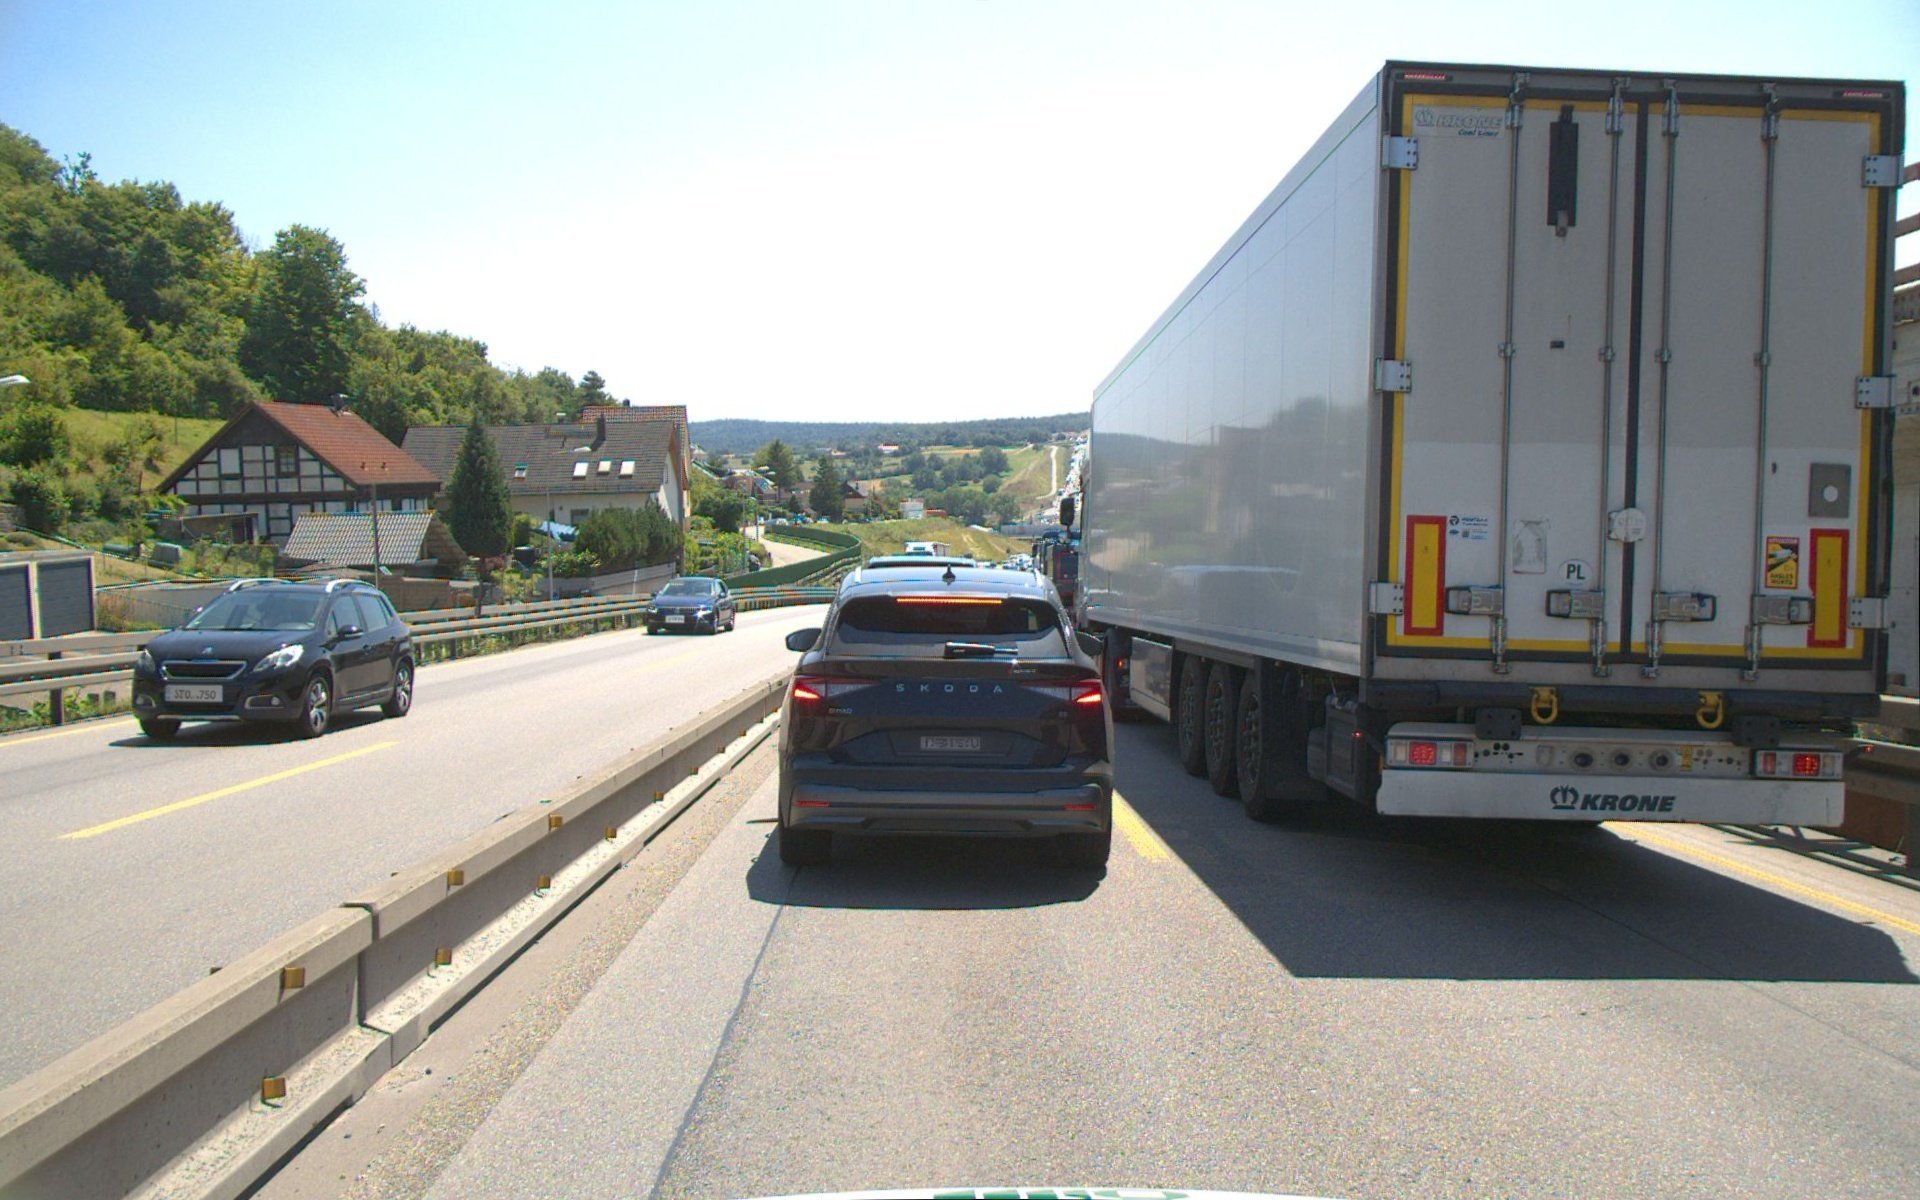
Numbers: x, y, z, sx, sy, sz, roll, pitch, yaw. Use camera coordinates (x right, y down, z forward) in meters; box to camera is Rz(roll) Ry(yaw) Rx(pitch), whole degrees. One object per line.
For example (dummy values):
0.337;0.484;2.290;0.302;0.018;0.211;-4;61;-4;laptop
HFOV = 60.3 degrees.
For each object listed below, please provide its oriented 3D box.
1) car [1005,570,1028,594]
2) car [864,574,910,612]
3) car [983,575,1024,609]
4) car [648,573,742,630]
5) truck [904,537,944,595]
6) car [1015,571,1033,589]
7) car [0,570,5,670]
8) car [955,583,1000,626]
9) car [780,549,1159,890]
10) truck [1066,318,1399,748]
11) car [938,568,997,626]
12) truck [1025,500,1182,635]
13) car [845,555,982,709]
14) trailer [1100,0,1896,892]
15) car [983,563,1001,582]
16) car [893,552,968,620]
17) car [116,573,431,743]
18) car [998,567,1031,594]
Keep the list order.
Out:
4.497;-1.388;130.388;1.665;1.758;3.838;1;0;4;car
-2.895;-0.299;66.126;1.683;1.433;4.000;0;1;0;car
2.179;-0.390;83.417;1.953;1.613;3.836;1;0;0;car
-7.002;0.051;44.081;1.804;1.443;4.685;-1;0;-1;car
-2.770;-2.623;128.938;2.695;4.358;4.959;1;1;2;truck
6.510;-2.008;167.134;1.665;1.758;3.838;1;0;4;car
-3.238;0.677;1.955;1.783;1.614;4.158;3;0;-1;car
0.693;0.158;67.652;1.672;1.650;4.000;1;1;-1;car
-0.095;0.593;9.926;1.806;1.614;3.903;1;0;-5;car
2.896;-0.622;20.070;2.462;4.095;8.235;1;0;-1;truck
0.180;-0.115;50.258;1.672;1.650;4.000;1;1;-1;car
3.761;-0.767;46.772;3.130;3.247;12.806;1;0;-1;truck
-0.729;0.363;23.000;1.673;1.914;3.997;1;1;-5;car
3.037;-0.718;13.549;2.480;4.199;11.544;1;0;-1;trailer
3.256;-2.751;167.371;1.665;1.758;3.838;1;0;4;car
-0.807;-0.396;42.916;1.673;1.650;3.997;1;1;-5;car
-7.051;0.513;17.465;1.697;1.515;4.000;0;2;-1;car
3.403;-1.215;104.370;1.953;1.613;3.836;1;0;0;car
